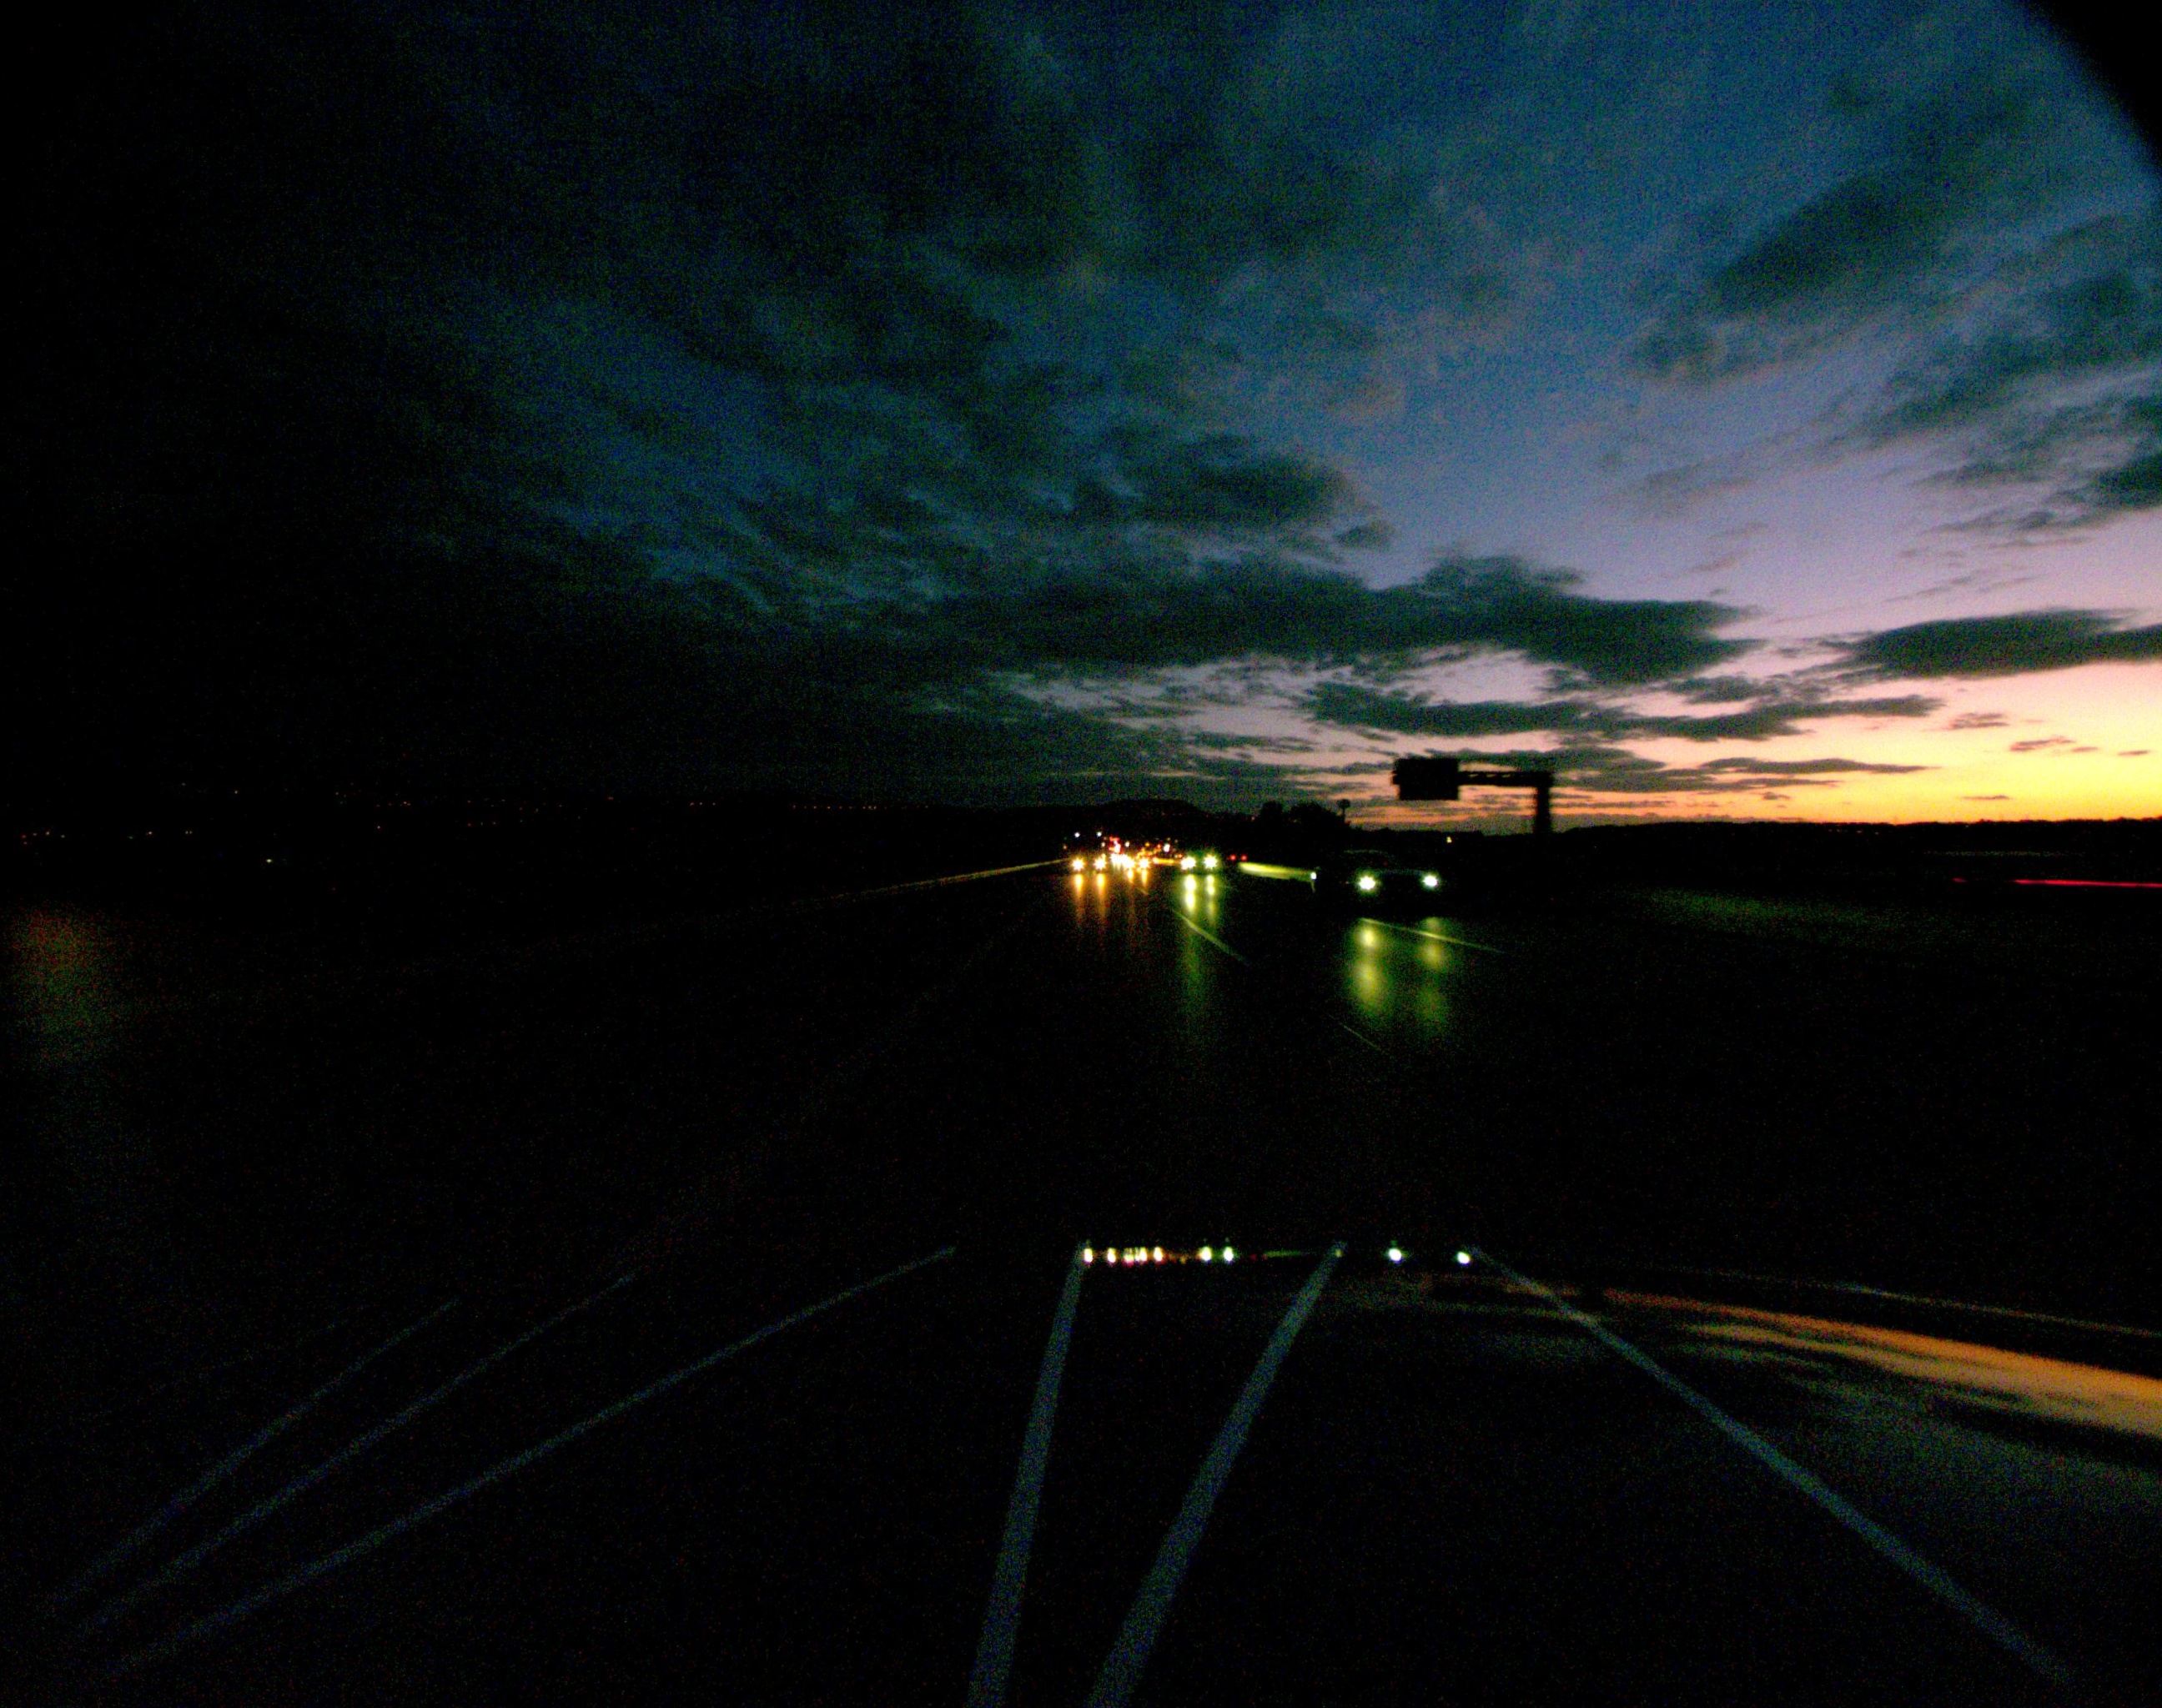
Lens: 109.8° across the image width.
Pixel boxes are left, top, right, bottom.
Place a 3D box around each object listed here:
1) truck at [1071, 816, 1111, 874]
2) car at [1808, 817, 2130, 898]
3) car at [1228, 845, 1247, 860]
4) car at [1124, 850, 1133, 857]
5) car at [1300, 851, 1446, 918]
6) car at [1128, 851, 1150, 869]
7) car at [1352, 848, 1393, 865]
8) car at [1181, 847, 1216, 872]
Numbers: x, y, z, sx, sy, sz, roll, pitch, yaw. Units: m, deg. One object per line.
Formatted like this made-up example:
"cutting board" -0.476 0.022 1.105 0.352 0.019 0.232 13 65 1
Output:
"truck" 0.877 -0.722 67.235 3.012 4.570 12.578 -2 0 1
"car" 19.687 0.029 17.287 1.663 1.514 4.887 -2 1 1
"car" 25.730 -0.271 125.371 1.998 2.374 5.835 -2 1 1
"car" 11.918 -0.144 191.026 1.862 1.826 3.999 -2 1 1
"car" 7.517 0.693 20.217 1.819 1.429 5.394 -2 1 1
"car" 5.570 0.543 73.786 1.802 1.531 4.159 -2 1 1
"car" 24.565 0.166 64.121 1.740 1.312 4.551 -2 1 1
"car" 8.625 0.379 56.288 1.819 1.638 4.856 -2 1 1
